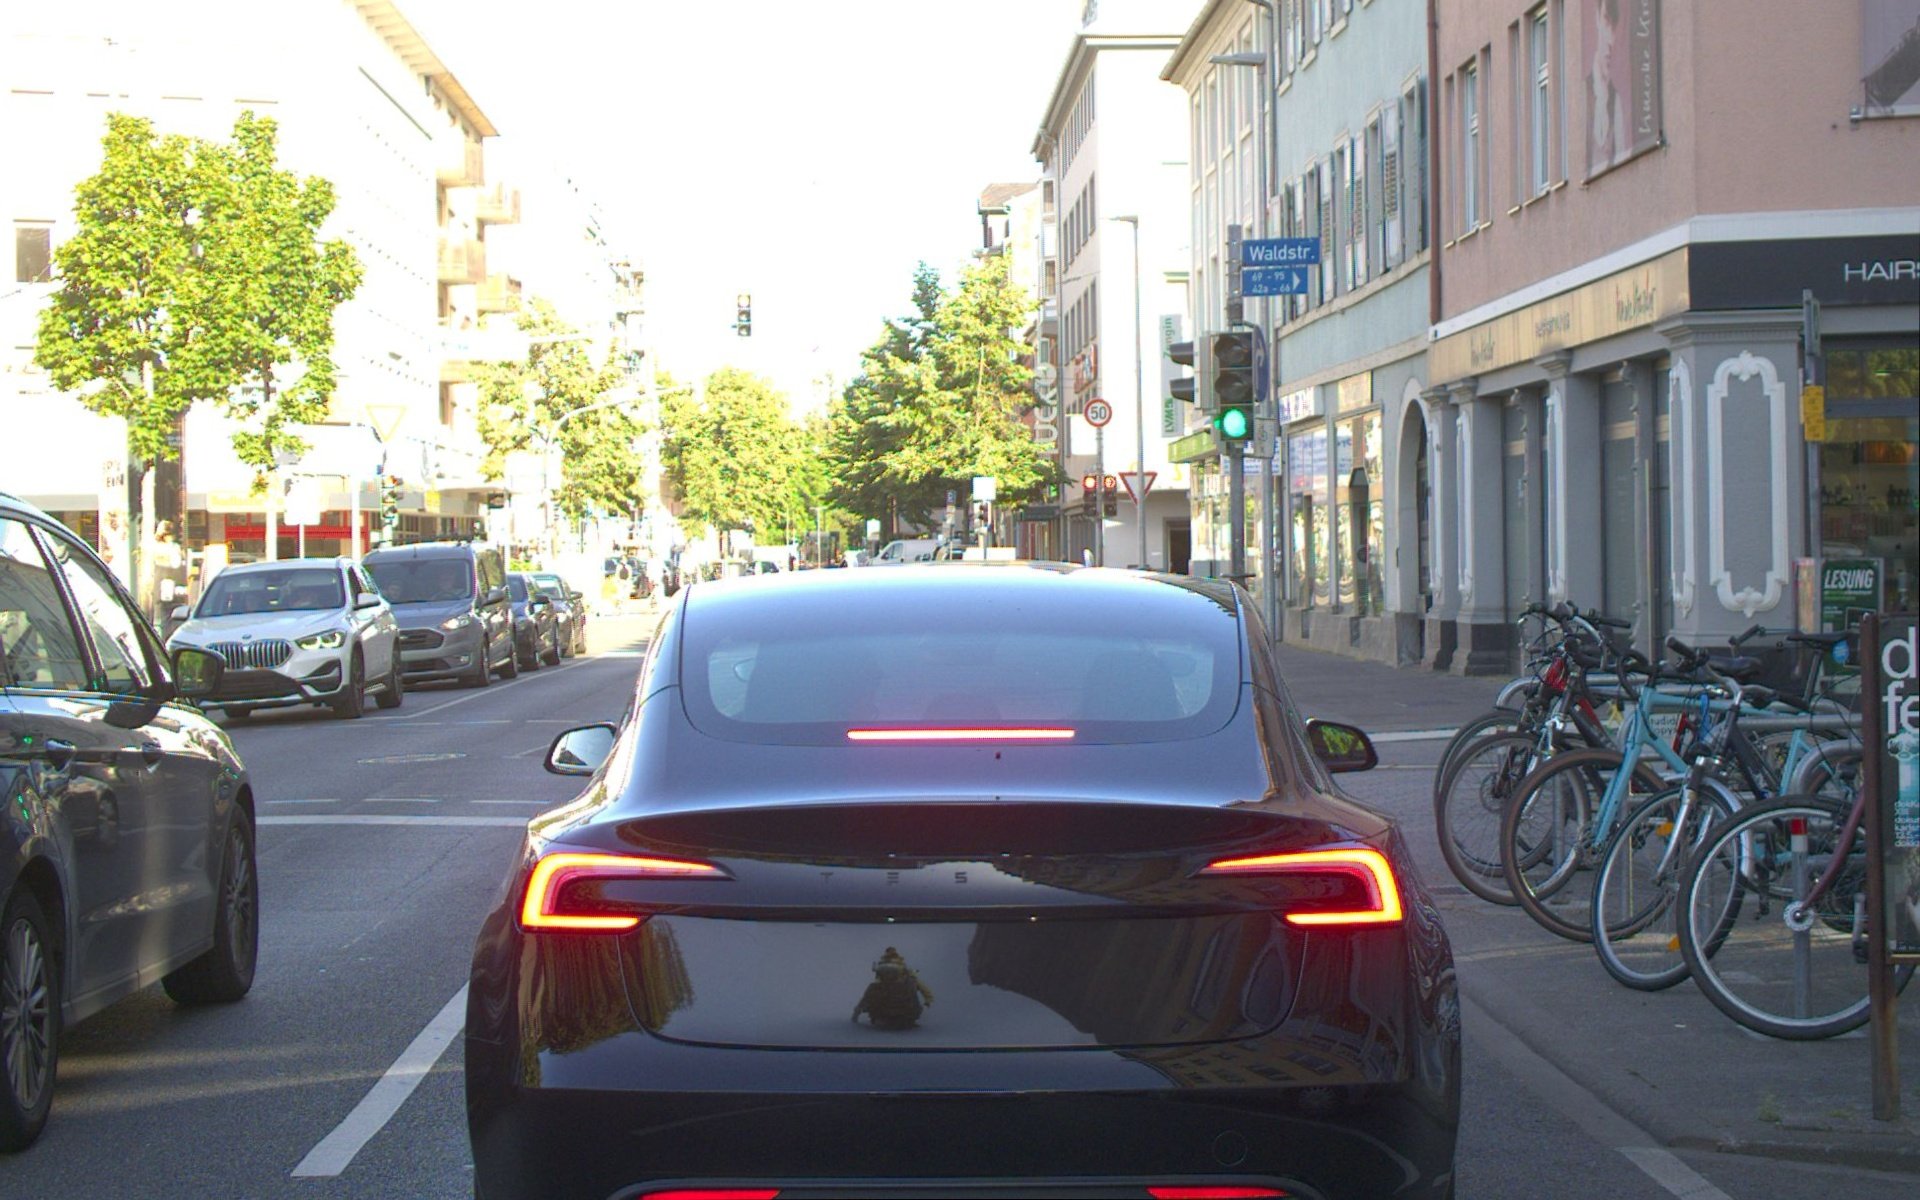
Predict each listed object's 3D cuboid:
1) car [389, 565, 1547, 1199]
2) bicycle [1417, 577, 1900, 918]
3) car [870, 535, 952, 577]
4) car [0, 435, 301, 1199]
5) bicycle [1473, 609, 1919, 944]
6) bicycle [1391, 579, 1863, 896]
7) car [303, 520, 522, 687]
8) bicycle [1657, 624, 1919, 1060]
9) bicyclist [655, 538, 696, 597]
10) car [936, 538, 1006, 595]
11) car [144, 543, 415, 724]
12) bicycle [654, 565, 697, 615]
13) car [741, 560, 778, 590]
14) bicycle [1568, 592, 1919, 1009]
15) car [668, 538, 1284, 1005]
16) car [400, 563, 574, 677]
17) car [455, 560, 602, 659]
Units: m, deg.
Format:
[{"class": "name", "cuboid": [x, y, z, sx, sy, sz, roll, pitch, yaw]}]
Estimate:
[{"class": "car", "cuboid": [-0.007, 0.656, 7.498, 1.848, 1.450, 4.000, 0, 1, -1]}, {"class": "bicycle", "cuboid": [2.743, 0.568, 13.646, 1.746, 1.262, 0.781, -2, 1, 3]}, {"class": "car", "cuboid": [-2.408, -2.141, 167.551, 3.986, 2.007, 2.000, 0, 1, -2]}, {"class": "car", "cuboid": [-3.231, 0.492, 9.577, 1.993, 1.766, 4.729, -1, 1, -2]}, {"class": "bicycle", "cuboid": [2.809, 0.624, 12.468, 1.798, 1.120, 0.781, -2, 1, 5]}, {"class": "bicycle", "cuboid": [2.813, 0.570, 14.676, 1.862, 1.253, 0.832, -2, 1, 5]}, {"class": "car", "cuboid": [-6.710, -0.001, 42.602, 1.834, 1.838, 4.674, -4, 1, 0]}, {"class": "bicycle", "cuboid": [3.035, 0.670, 9.984, 1.886, 1.189, 0.691, -2, 1, 5]}, {"class": "bicyclist", "cuboid": [-7.904, -0.905, 95.612, 1.126, 1.623, 0.965, 0, 1, -3]}, {"class": "car", "cuboid": [0.300, -0.980, 100.769, 1.993, 1.623, 4.000, 0, 1, 0]}, {"class": "car", "cuboid": [-6.659, 0.274, 34.083, 1.807, 1.550, 4.310, -4, 1, -1]}, {"class": "bicycle", "cuboid": [-7.886, -0.290, 95.528, 1.111, 1.340, 4.001, 0, 1, -3]}, {"class": "car", "cuboid": [-10.929, -1.360, 187.073, 1.993, 1.631, 4.001, 0, 1, -3]}, {"class": "bicycle", "cuboid": [2.889, 0.621, 11.116, 1.722, 1.263, 0.790, -2, 1, 5]}, {"class": "car", "cuboid": [-0.015, 0.520, 13.206, 1.993, 1.507, 4.176, 0, 1, -2]}, {"class": "car", "cuboid": [-6.741, 0.243, 49.430, 1.993, 1.405, 4.675, -4, 1, -3]}, {"class": "car", "cuboid": [-7.105, 0.125, 57.021, 1.993, 1.431, 4.675, -4, 1, -3]}]
